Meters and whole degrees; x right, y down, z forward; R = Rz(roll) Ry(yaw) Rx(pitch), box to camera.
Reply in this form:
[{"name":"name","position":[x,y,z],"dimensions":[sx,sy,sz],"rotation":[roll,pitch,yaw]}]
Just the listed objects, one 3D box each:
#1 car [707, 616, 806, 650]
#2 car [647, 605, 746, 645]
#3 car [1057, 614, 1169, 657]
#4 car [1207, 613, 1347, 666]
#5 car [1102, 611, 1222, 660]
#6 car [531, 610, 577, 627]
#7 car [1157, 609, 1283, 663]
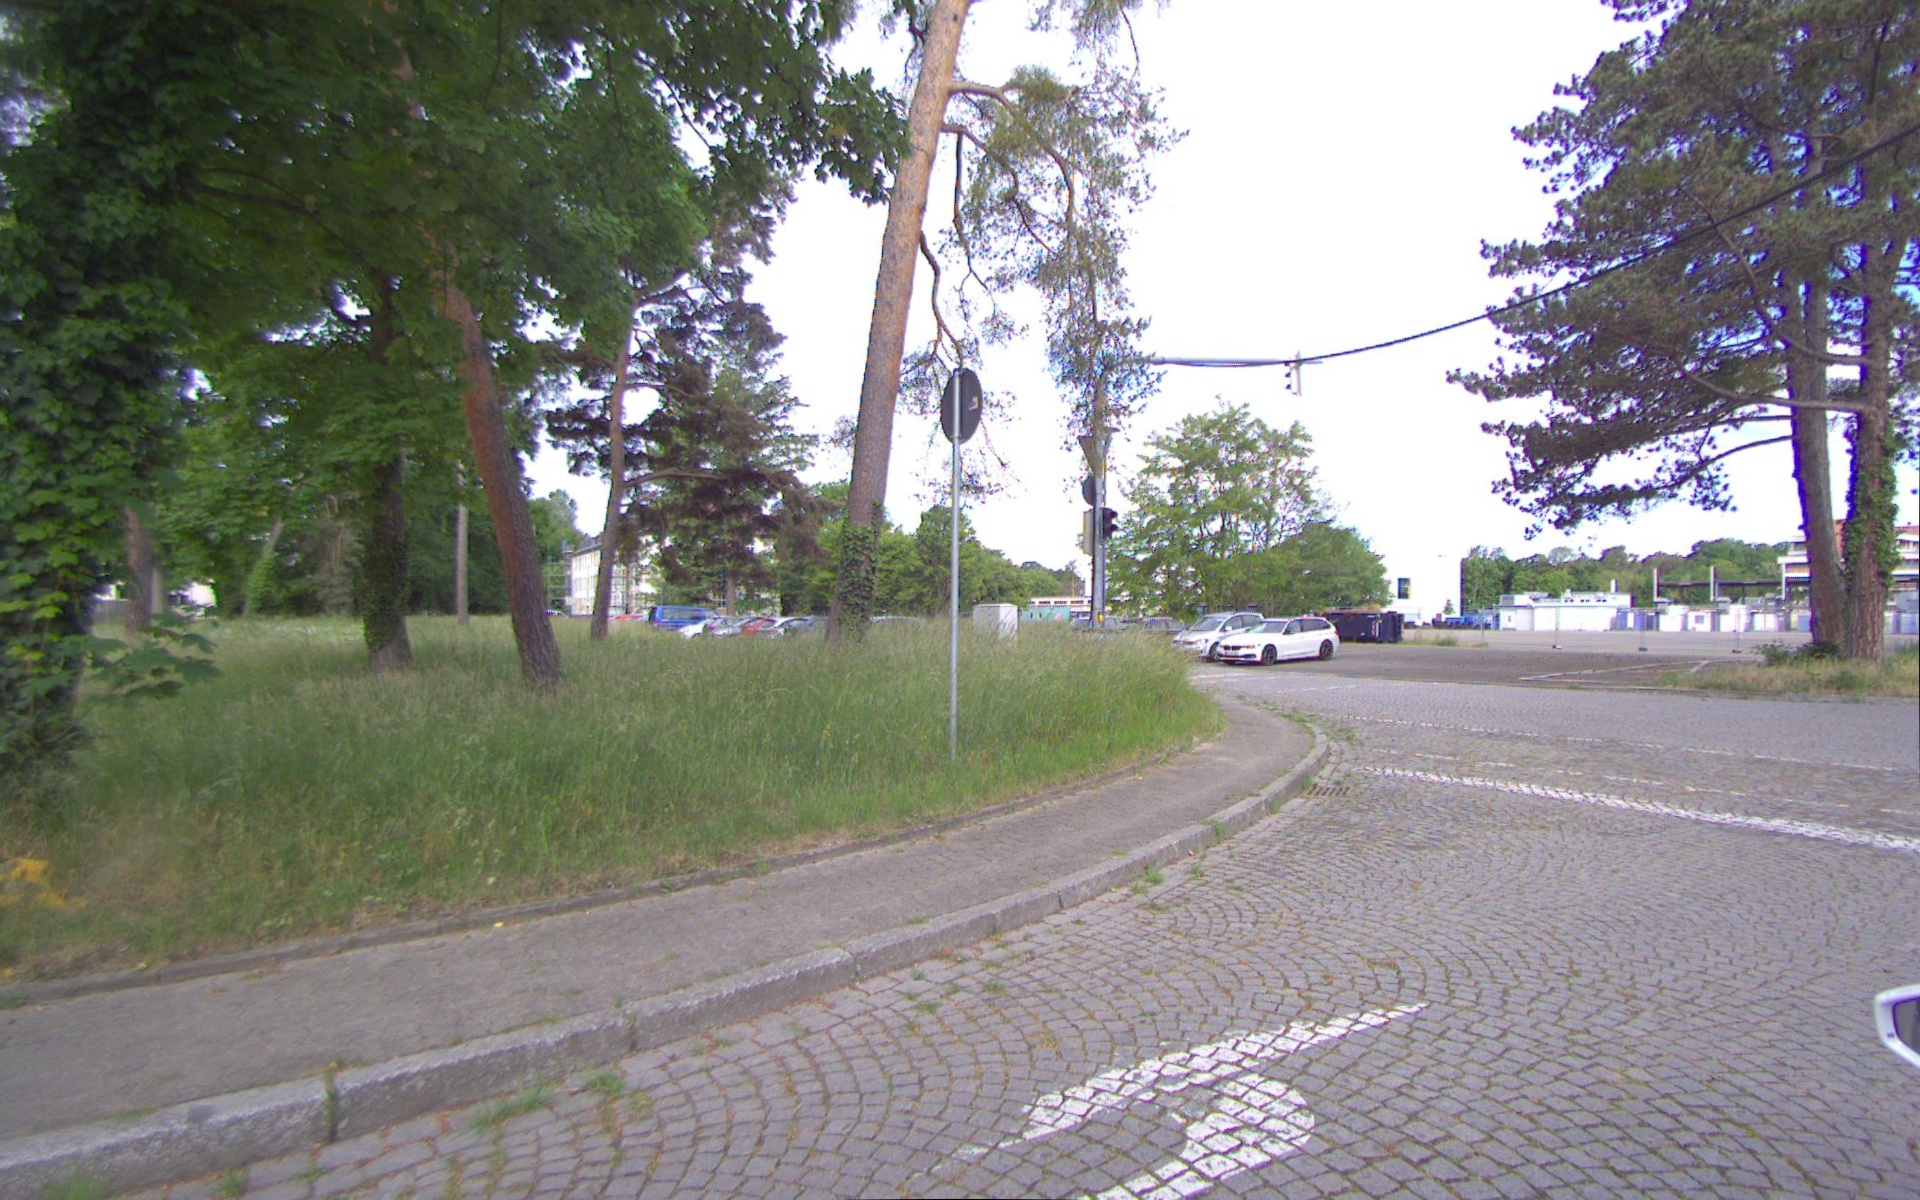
[{"name":"car","position":[-8.870,1.422,43.877],"dimensions":[3.952,1.457,1.678],"rotation":[1,-1,-30]},{"name":"car","position":[-14.017,1.301,53.527],"dimensions":[4.737,2.007,1.982],"rotation":[0,0,-30]},{"name":"car","position":[6.004,1.361,39.182],"dimensions":[4.281,1.587,1.782],"rotation":[1,-1,-34]},{"name":"car","position":[10.314,1.239,32.546],"dimensions":[4.689,1.461,1.799],"rotation":[-2,1,-33]},{"name":"car","position":[7.446,1.254,36.936],"dimensions":[4.280,1.522,1.843],"rotation":[-2,1,-34]},{"name":"car","position":[-50.827,2.333,125.903],"dimensions":[5.104,2.040,1.983],"rotation":[1,-1,-31]},{"name":"car","position":[9.002,1.198,34.659],"dimensions":[4.280,1.605,1.810],"rotation":[-2,1,-34]}]
